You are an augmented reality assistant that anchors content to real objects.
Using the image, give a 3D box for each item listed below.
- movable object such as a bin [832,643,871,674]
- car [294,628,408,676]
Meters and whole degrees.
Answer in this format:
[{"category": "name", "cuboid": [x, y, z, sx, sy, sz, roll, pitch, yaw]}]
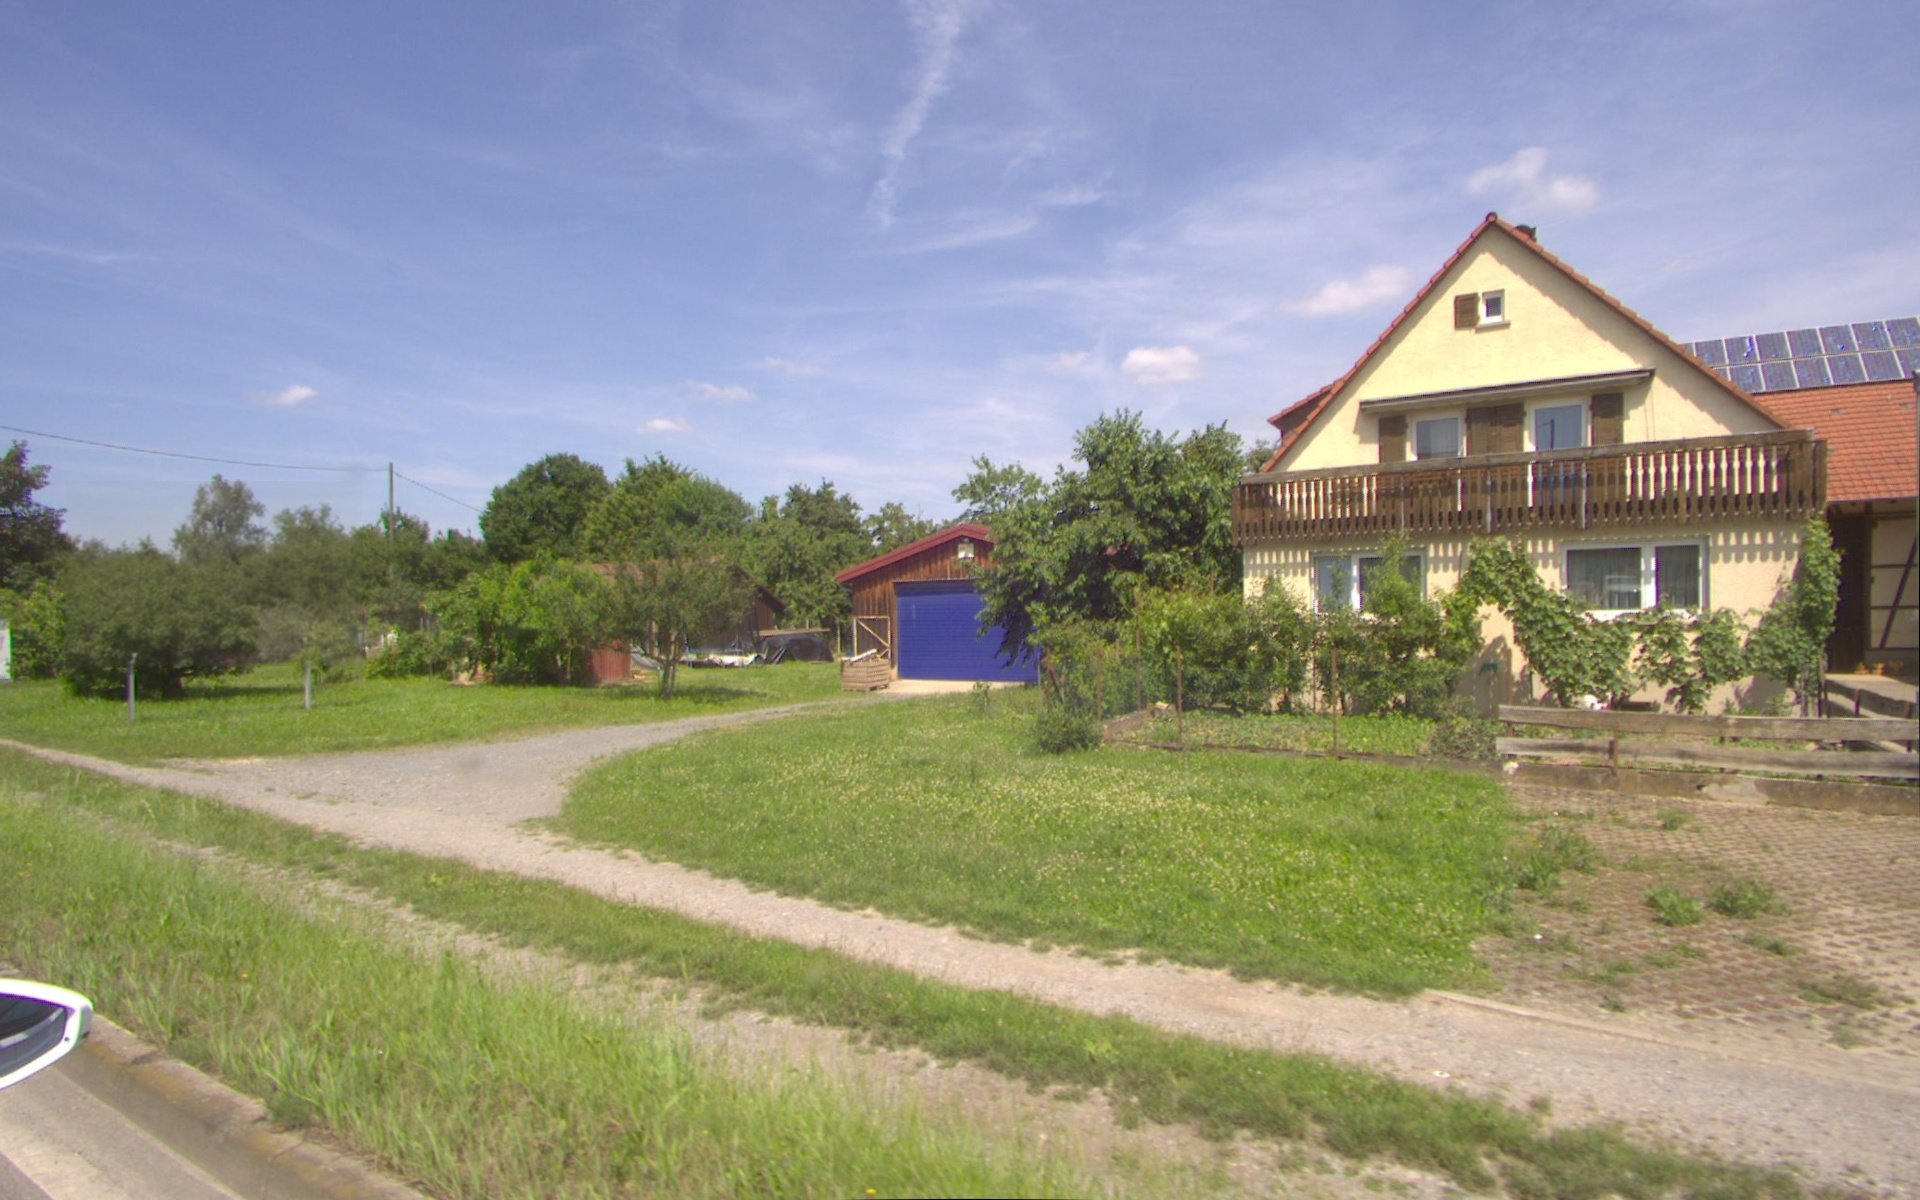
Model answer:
[{"category": "movable object such as a bin", "cuboid": [-3.802, 2.045, 35.164, 1.045, 1.046, 1.040, 0, -2, 19]}, {"category": "car", "cuboid": [-27.322, 2.325, 45.028, 1.977, 2.039, 3.970, -1, -2, 40]}]
